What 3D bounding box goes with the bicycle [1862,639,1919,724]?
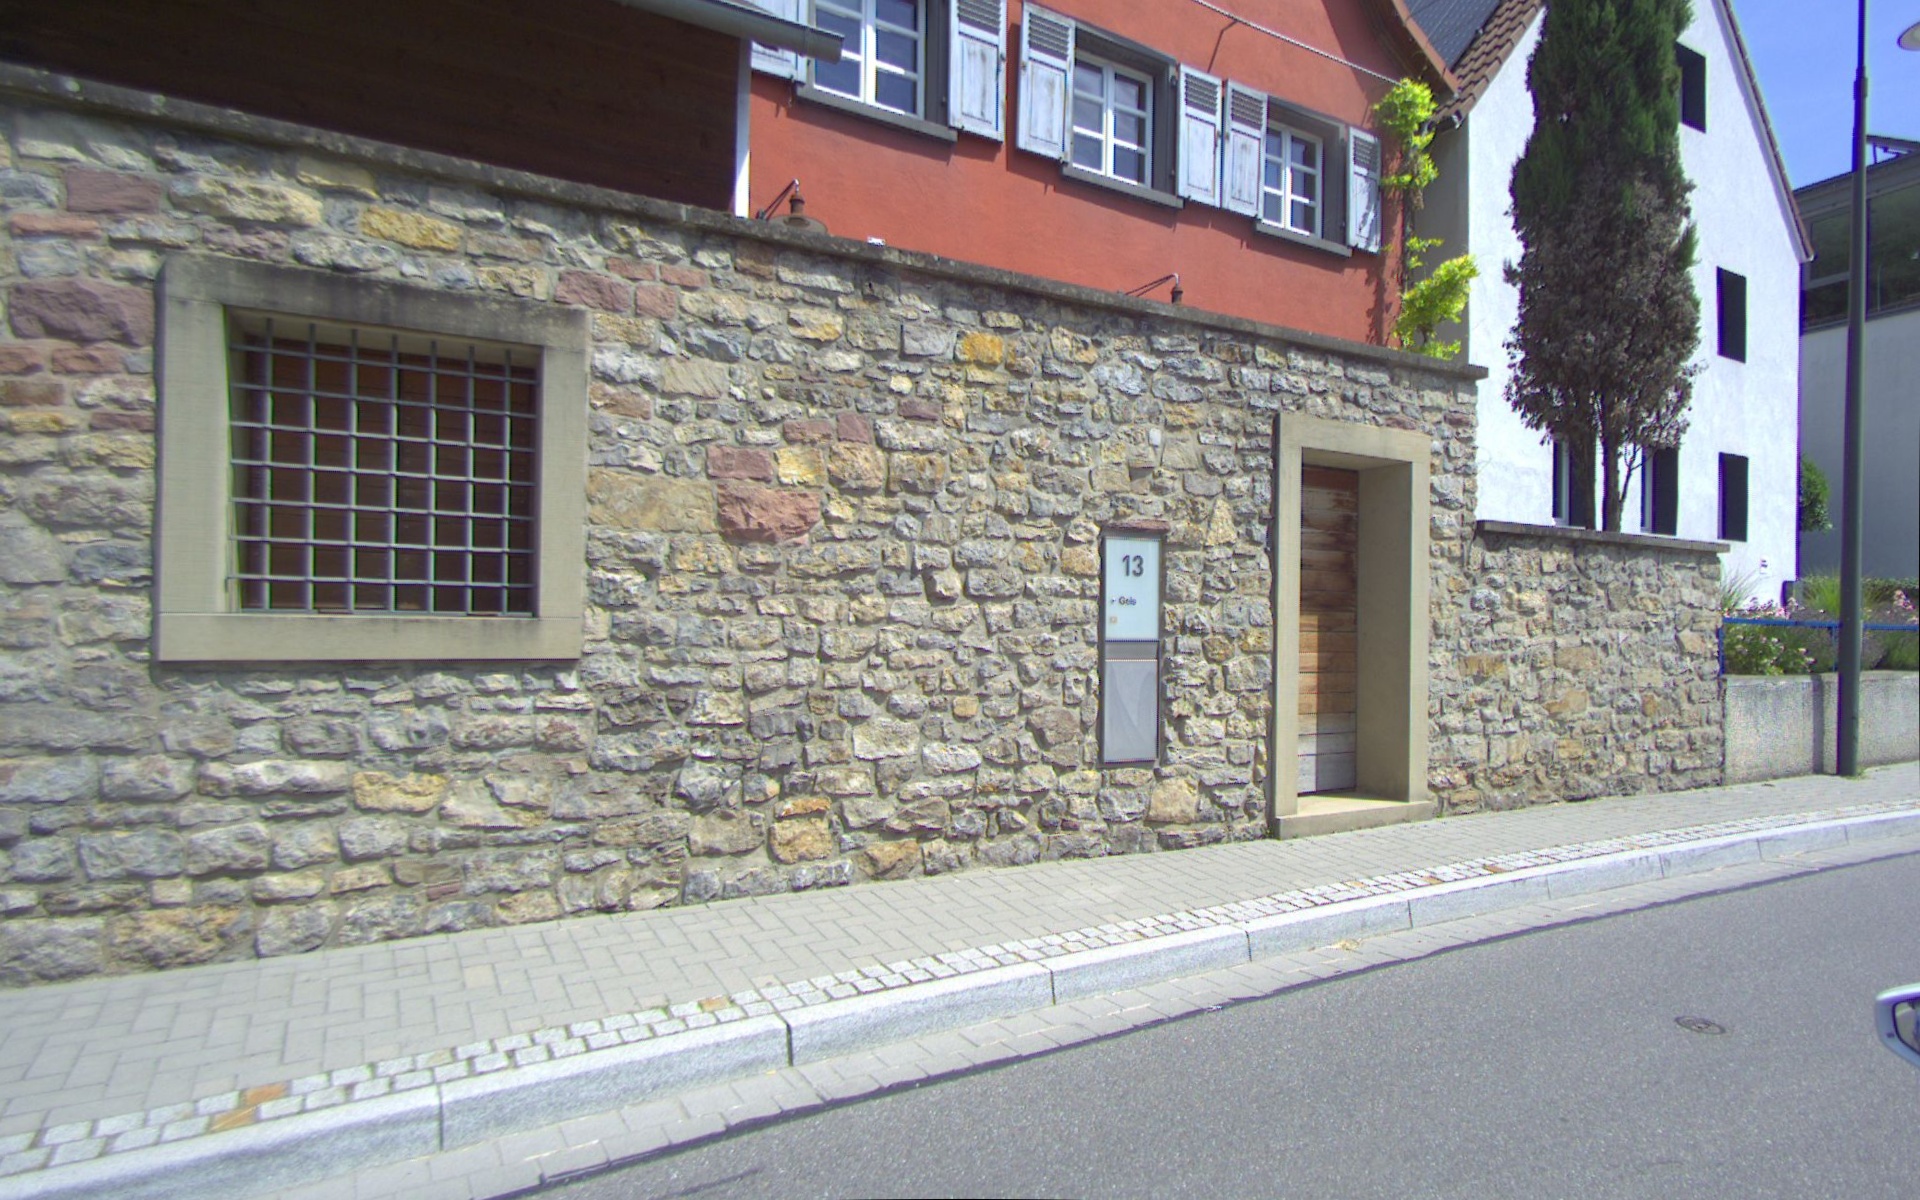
[{"bbox_3d":[12.220,1.033,12.674,1.516,0.985,0.507,3,4,-20],"label":"bicycle"}]
